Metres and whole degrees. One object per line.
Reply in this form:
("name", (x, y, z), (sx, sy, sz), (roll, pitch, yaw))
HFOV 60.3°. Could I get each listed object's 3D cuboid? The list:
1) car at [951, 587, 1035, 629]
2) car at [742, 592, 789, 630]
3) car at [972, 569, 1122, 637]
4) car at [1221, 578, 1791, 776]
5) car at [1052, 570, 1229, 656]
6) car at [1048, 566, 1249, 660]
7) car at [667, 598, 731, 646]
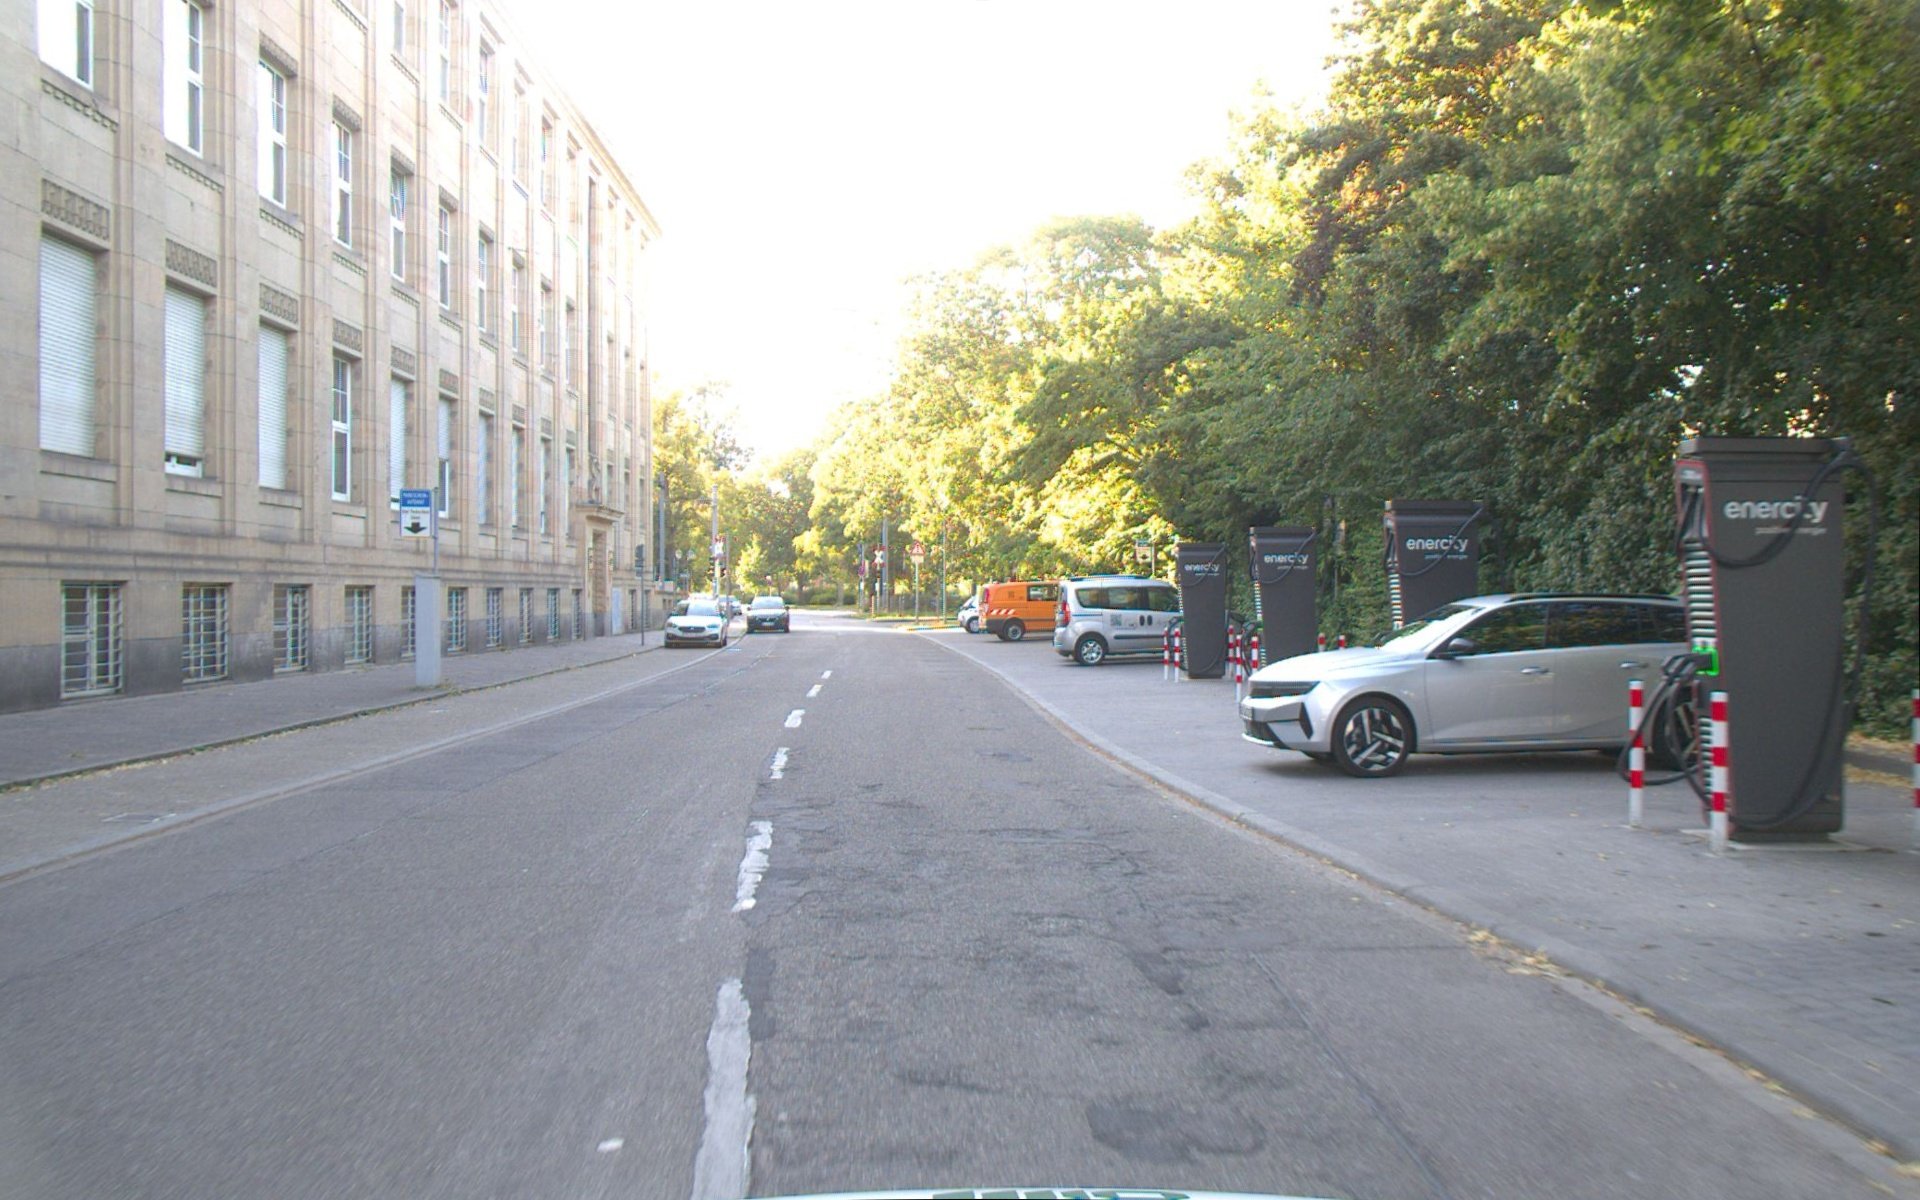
("car", (1.305, 0.321, 66.286), (3.086, 1.529, 1.537), (-2, 0, -9))
("car", (-8.107, 0.433, 69.225), (1.842, 1.492, 4.369), (0, 1, -5))
("car", (2.918, 0.087, 55.844), (4.730, 2.049, 1.798), (-2, 0, -9))
("car", (4.631, 0.618, 14.424), (4.352, 1.495, 1.781), (-1, 0, -3))
("car", (4.237, 0.291, 39.171), (3.942, 1.868, 1.614), (-2, 0, -1))
("car", (4.110, 0.271, 36.591), (4.143, 1.892, 1.999), (-2, 0, -1))
("car", (-8.182, 0.658, 52.150), (1.693, 1.421, 4.368), (0, 0, -5))
